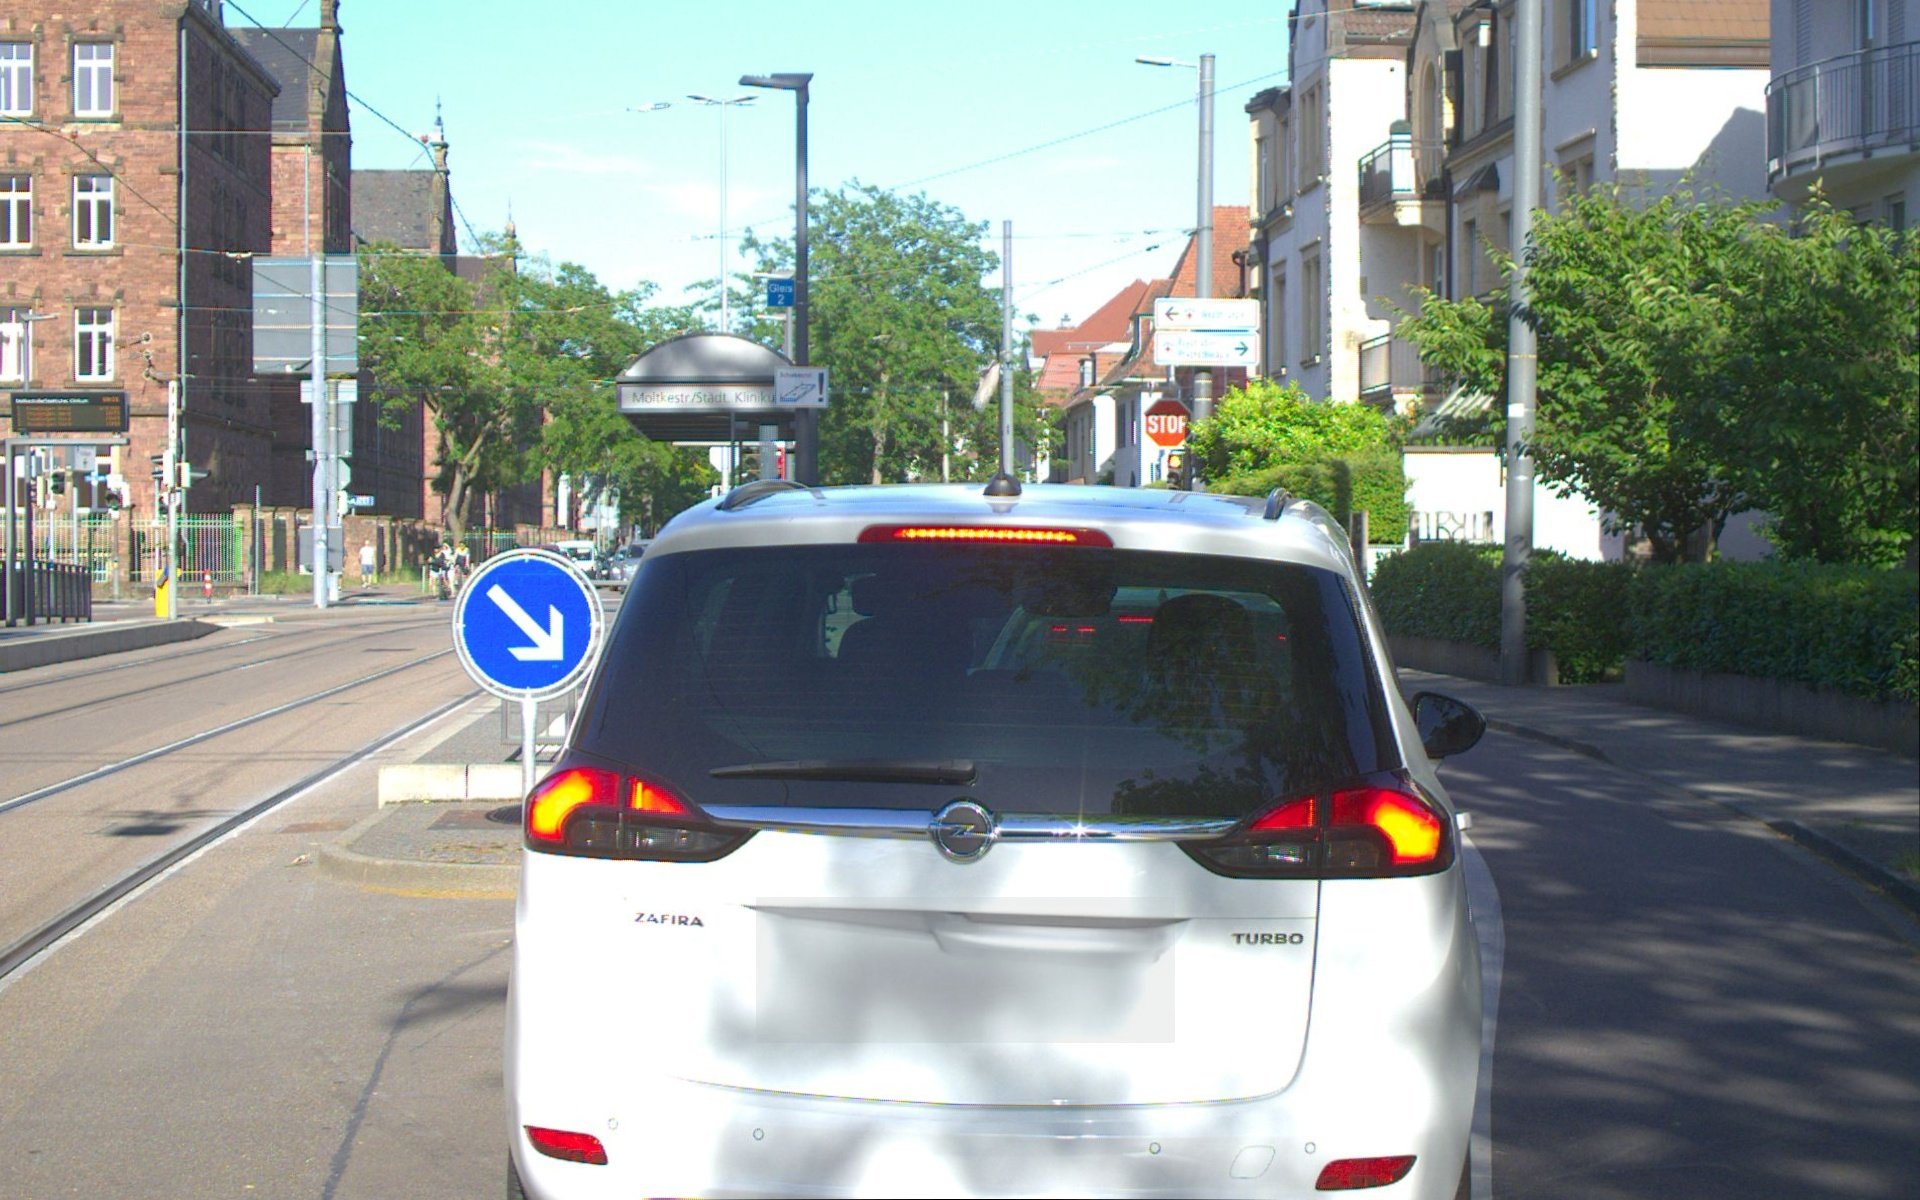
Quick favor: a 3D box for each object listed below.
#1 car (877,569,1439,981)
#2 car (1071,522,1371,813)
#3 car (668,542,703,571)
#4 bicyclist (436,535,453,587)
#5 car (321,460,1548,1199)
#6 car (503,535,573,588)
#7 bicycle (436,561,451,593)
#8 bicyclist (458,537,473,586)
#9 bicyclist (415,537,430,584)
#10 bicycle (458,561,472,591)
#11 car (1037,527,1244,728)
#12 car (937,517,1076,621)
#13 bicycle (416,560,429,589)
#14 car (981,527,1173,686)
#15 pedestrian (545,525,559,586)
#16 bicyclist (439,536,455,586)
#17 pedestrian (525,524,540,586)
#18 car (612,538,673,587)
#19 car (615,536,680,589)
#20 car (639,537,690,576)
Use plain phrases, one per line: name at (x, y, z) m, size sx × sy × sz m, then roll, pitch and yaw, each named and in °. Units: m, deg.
car at (0.749, 0.591, 13.978) m, size 1.953 × 1.392 × 4.000 m, roll 0°, pitch 1°, yaw 2°
car at (1.495, 0.334, 20.824) m, size 1.637 × 1.595 × 3.854 m, roll 0°, pitch 1°, yaw 2°
car at (-15.721, -2.513, 196.923) m, size 1.993 × 1.623 × 3.989 m, roll 0°, pitch 1°, yaw -5°
bicyclist at (-15.483, -1.171, 103.277) m, size 0.444 × 1.548 × 0.743 m, roll 0°, pitch 1°, yaw -4°
car at (0.141, 0.584, 7.598) m, size 1.994 × 1.639 × 3.992 m, roll 1°, pitch 1°, yaw 6°
car at (-13.125, -1.212, 107.081) m, size 1.993 × 1.623 × 4.001 m, roll 0°, pitch 1°, yaw -5°
bicycle at (-15.491, -0.703, 103.076) m, size 0.344 × 0.946 × 1.160 m, roll 1°, pitch 0°, yaw -4°
bicyclist at (-15.698, -1.231, 109.144) m, size 0.444 × 1.548 × 0.496 m, roll 0°, pitch 1°, yaw -4°
bicyclist at (-17.992, -1.323, 115.089) m, size 0.444 × 1.548 × 0.496 m, roll 0°, pitch 1°, yaw -4°
bicycle at (-15.707, -0.766, 109.158) m, size 0.344 × 0.946 × 0.997 m, roll 1°, pitch 0°, yaw -4°
car at (1.495, 0.183, 29.252) m, size 1.637 × 1.595 × 3.854 m, roll 0°, pitch 1°, yaw 2°
car at (0.665, -0.481, 51.756) m, size 1.993 × 1.497 × 4.000 m, roll 0°, pitch 1°, yaw -1°
bicycle at (-17.996, -0.857, 115.133) m, size 0.344 × 0.946 × 0.997 m, roll 1°, pitch 0°, yaw -4°
car at (1.176, 0.030, 36.175) m, size 1.830 × 1.574 × 4.010 m, roll 0°, pitch 1°, yaw -1°
pedestrian at (-13.326, -1.458, 112.239) m, size 0.444 × 2.007 × 0.496 m, roll 0°, pitch 1°, yaw -4°
bicyclist at (-15.901, -1.209, 106.559) m, size 0.444 × 1.548 × 0.496 m, roll 0°, pitch 1°, yaw -4°
pedestrian at (-13.917, -1.464, 111.969) m, size 0.444 × 2.007 × 0.496 m, roll 0°, pitch 1°, yaw -4°
car at (-10.543, -1.257, 114.411) m, size 1.993 × 1.623 × 4.001 m, roll 0°, pitch 1°, yaw -5°
car at (-9.745, -1.176, 107.305) m, size 1.993 × 1.623 × 4.001 m, roll 0°, pitch 1°, yaw -5°
car at (-12.494, -1.856, 145.475) m, size 1.993 × 1.623 × 4.001 m, roll 0°, pitch 1°, yaw -2°
